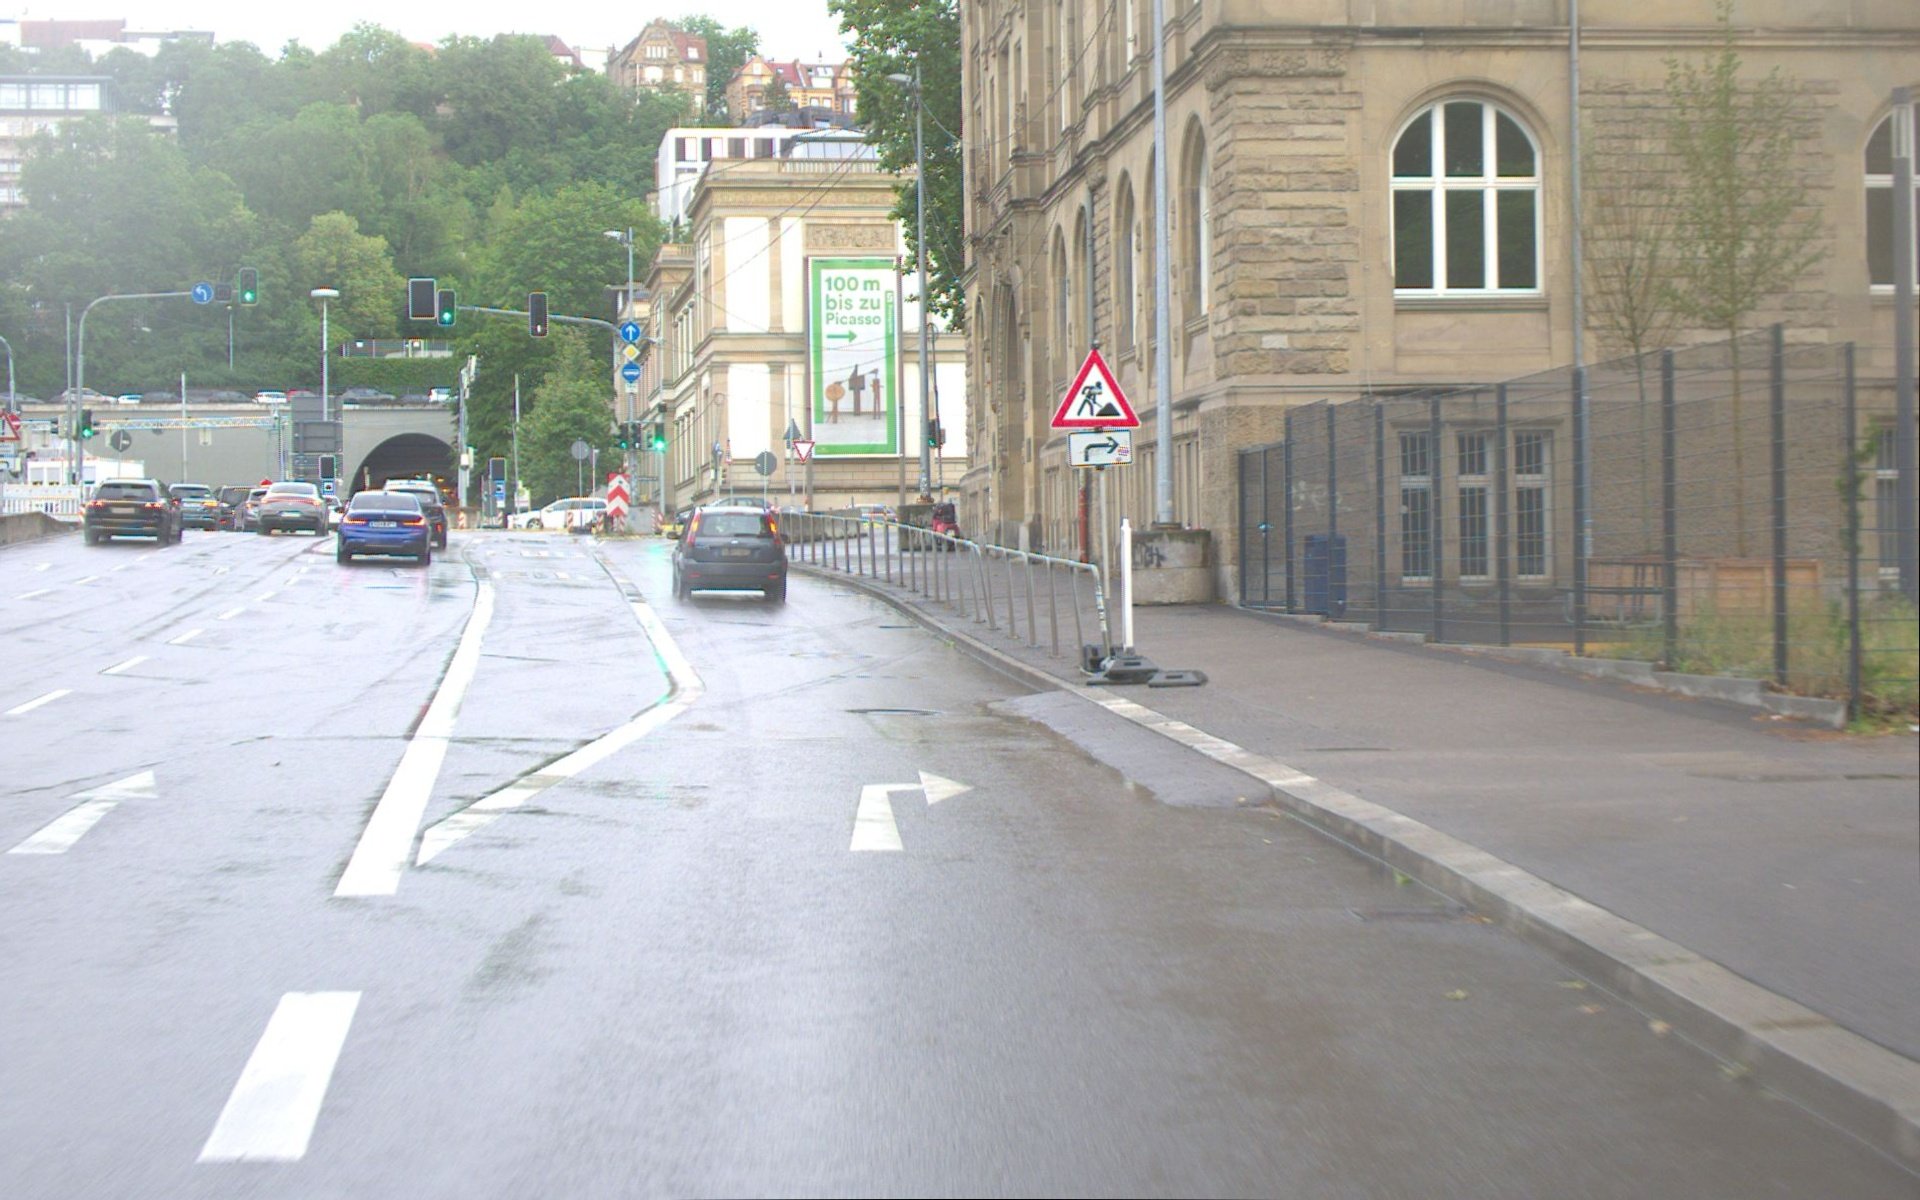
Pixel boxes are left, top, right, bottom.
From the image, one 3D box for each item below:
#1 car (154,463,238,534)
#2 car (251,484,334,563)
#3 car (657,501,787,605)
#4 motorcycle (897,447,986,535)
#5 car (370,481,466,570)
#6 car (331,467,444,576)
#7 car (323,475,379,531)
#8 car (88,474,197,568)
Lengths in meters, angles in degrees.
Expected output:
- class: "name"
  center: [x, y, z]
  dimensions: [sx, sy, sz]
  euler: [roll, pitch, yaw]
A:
- class: "car"
  center: [-23.377, -3.095, 105.360]
  dimensions: [1.993, 2.007, 4.001]
  euler: [-1, 0, -5]
- class: "car"
  center: [-18.296, -2.076, 94.367]
  dimensions: [2.051, 2.007, 4.001]
  euler: [-1, 0, -9]
- class: "car"
  center: [-3.748, -0.709, 53.608]
  dimensions: [1.812, 1.521, 4.001]
  euler: [-2, 0, -6]
- class: "motorcycle"
  center: [-0.463, -2.550, 79.984]
  dimensions: [1.795, 2.006, 3.814]
  euler: [0, 2, -4]
- class: "car"
  center: [-12.900, -1.749, 82.037]
  dimensions: [1.776, 2.007, 4.000]
  euler: [-1, 0, -2]
- class: "car"
  center: [-11.426, -1.540, 68.850]
  dimensions: [2.104, 2.043, 4.001]
  euler: [-1, 0, -8]
- class: "car"
  center: [-23.179, -3.688, 130.759]
  dimensions: [1.993, 2.007, 4.001]
  euler: [-1, 1, -11]
- class: "car"
  center: [-18.576, -1.771, 78.237]
  dimensions: [2.016, 2.007, 4.001]
  euler: [-1, 0, -8]
